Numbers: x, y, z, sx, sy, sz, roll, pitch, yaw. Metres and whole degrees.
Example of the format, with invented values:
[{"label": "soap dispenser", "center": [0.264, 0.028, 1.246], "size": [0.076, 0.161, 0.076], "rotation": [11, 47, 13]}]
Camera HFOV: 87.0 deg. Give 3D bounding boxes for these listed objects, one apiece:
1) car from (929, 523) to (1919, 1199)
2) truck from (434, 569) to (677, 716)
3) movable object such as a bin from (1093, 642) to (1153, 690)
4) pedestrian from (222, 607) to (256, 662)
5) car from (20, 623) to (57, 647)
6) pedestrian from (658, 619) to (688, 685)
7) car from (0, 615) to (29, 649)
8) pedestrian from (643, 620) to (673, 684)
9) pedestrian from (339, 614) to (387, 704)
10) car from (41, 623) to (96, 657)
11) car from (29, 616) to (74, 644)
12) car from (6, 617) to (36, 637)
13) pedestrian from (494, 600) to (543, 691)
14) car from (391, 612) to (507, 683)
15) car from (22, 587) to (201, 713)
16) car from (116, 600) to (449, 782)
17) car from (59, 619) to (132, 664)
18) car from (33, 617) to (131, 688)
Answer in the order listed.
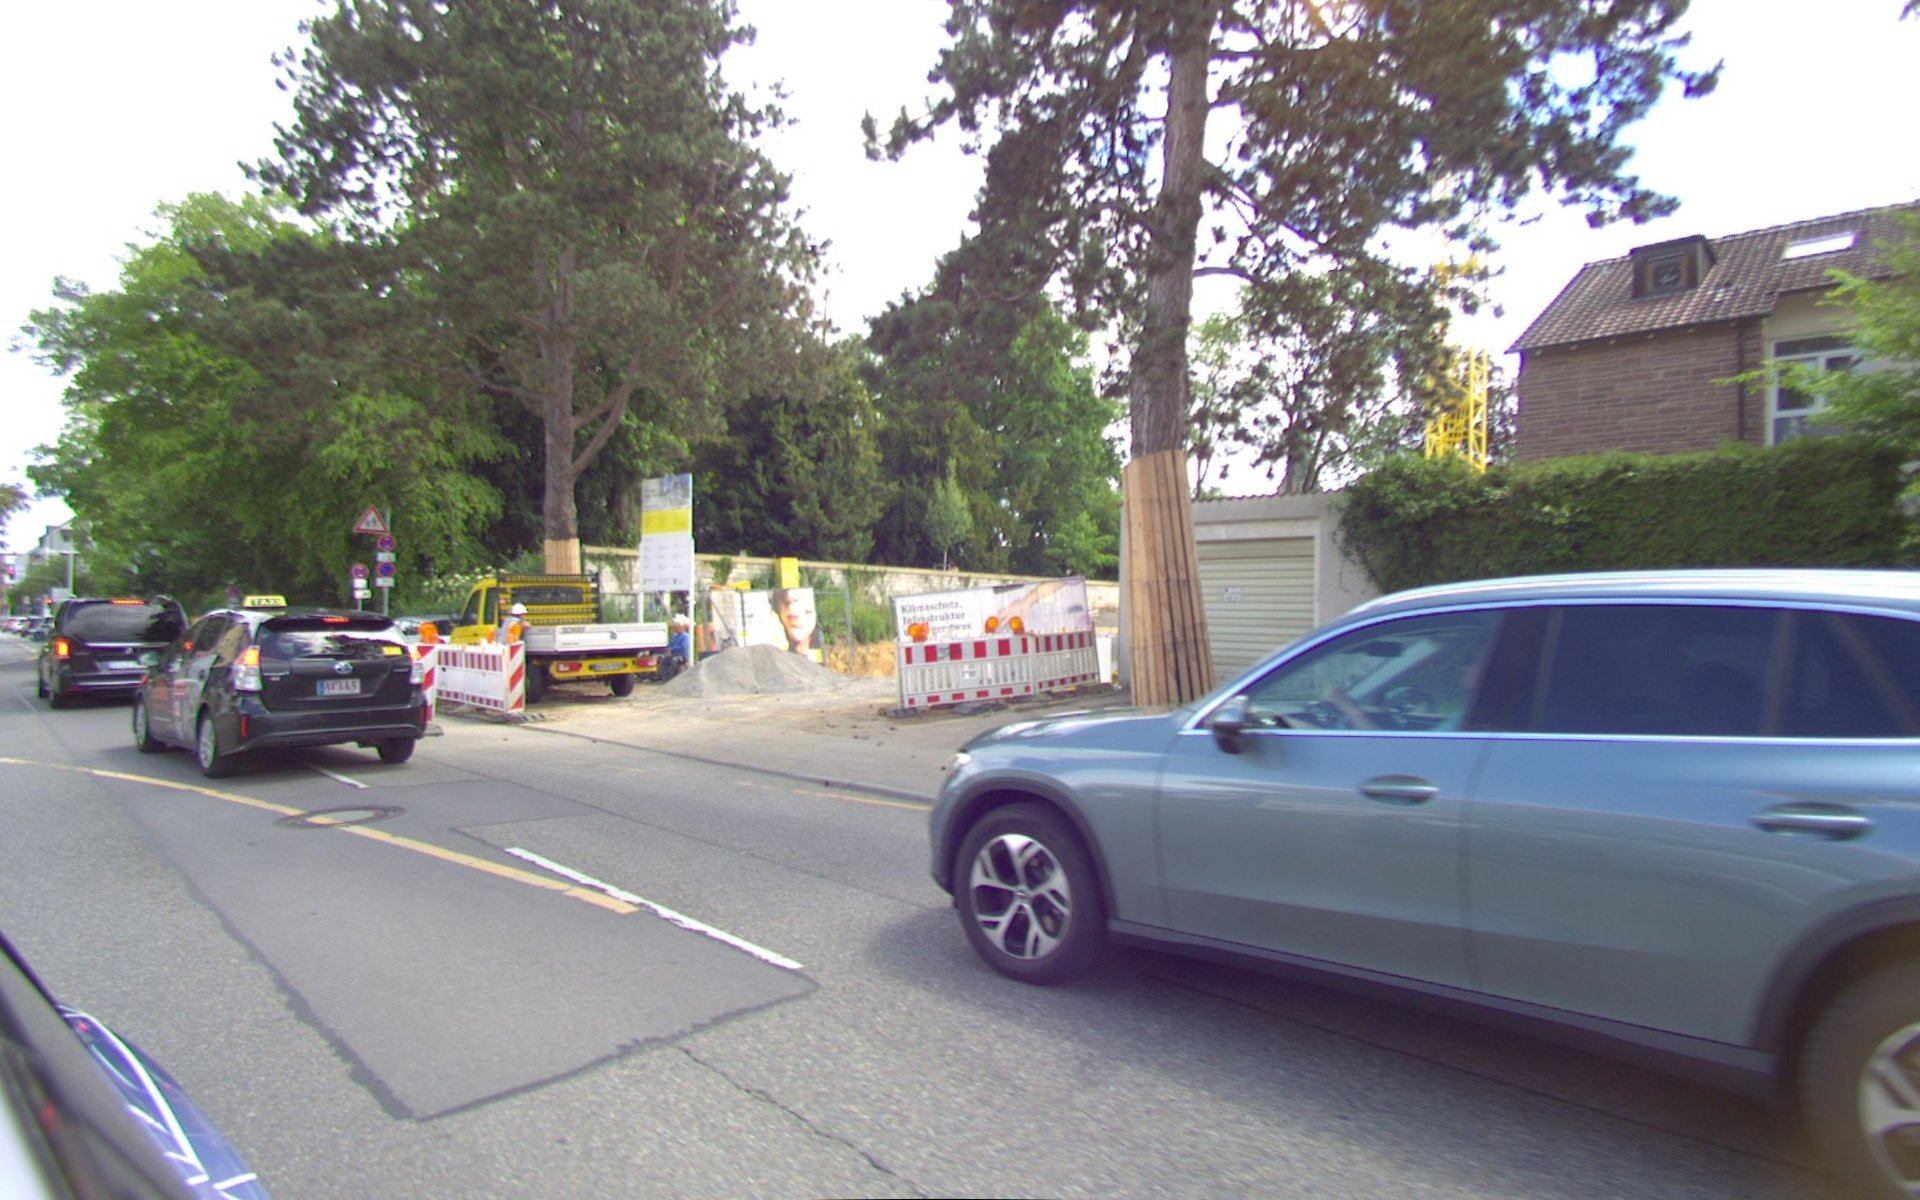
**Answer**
[{"label": "car", "center": [2.152, 0.693, 3.577], "size": [4.534, 1.630, 1.845], "rotation": [-2, -3, 42]}, {"label": "truck", "center": [-8.060, 0.699, 19.750], "size": [2.279, 2.438, 6.098], "rotation": [0, 0, -44]}, {"label": "movable object such as a bin", "center": [6.696, 2.683, 41.524], "size": [1.655, 1.796, 1.972], "rotation": [0, 0, 42]}, {"label": "pedestrian", "center": [-24.837, 1.167, 34.859], "size": [0.823, 1.861, 1.023], "rotation": [0, 0, -42]}, {"label": "car", "center": [-68.588, 2.578, 75.276], "size": [4.164, 1.603, 1.737], "rotation": [0, -3, 44]}, {"label": "pedestrian", "center": [-6.251, 1.122, 22.035], "size": [0.566, 1.396, 0.539], "rotation": [0, 0, -8]}, {"label": "car", "center": [-54.380, 1.787, 57.557], "size": [4.225, 1.820, 1.938], "rotation": [0, 1, 45]}, {"label": "pedestrian", "center": [-6.738, 1.144, 22.592], "size": [0.566, 1.396, 0.539], "rotation": [0, 0, -8]}, {"label": "pedestrian", "center": [-10.917, 1.060, 18.519], "size": [0.563, 1.613, 0.537], "rotation": [0, 0, -1]}, {"label": "car", "center": [-46.098, 2.037, 52.305], "size": [4.005, 1.603, 1.737], "rotation": [0, -3, 44]}, {"label": "car", "center": [-55.749, 1.826, 62.083], "size": [4.164, 1.603, 1.737], "rotation": [0, -3, 44]}, {"label": "car", "center": [-81.168, 2.303, 87.480], "size": [4.164, 1.603, 1.596], "rotation": [0, -3, 44]}, {"label": "pedestrian", "center": [-7.803, 0.784, 17.882], "size": [0.654, 1.559, 0.568], "rotation": [0, 0, 39]}, {"label": "car", "center": [-12.055, 1.062, 23.794], "size": [1.603, 1.519, 3.588], "rotation": [0, -1, -41]}, {"label": "car", "center": [-15.414, 0.860, 18.282], "size": [4.914, 1.967, 1.887], "rotation": [-2, -3, 43]}, {"label": "car", "center": [-7.343, 0.828, 10.780], "size": [4.526, 1.539, 1.846], "rotation": [-1, -2, 42]}, {"label": "car", "center": [-32.301, 1.530, 37.791], "size": [1.755, 1.568, 4.005], "rotation": [4, -3, -44]}, {"label": "car", "center": [-20.823, 1.228, 23.963], "size": [1.595, 1.535, 3.573], "rotation": [2, -3, -43]}]
